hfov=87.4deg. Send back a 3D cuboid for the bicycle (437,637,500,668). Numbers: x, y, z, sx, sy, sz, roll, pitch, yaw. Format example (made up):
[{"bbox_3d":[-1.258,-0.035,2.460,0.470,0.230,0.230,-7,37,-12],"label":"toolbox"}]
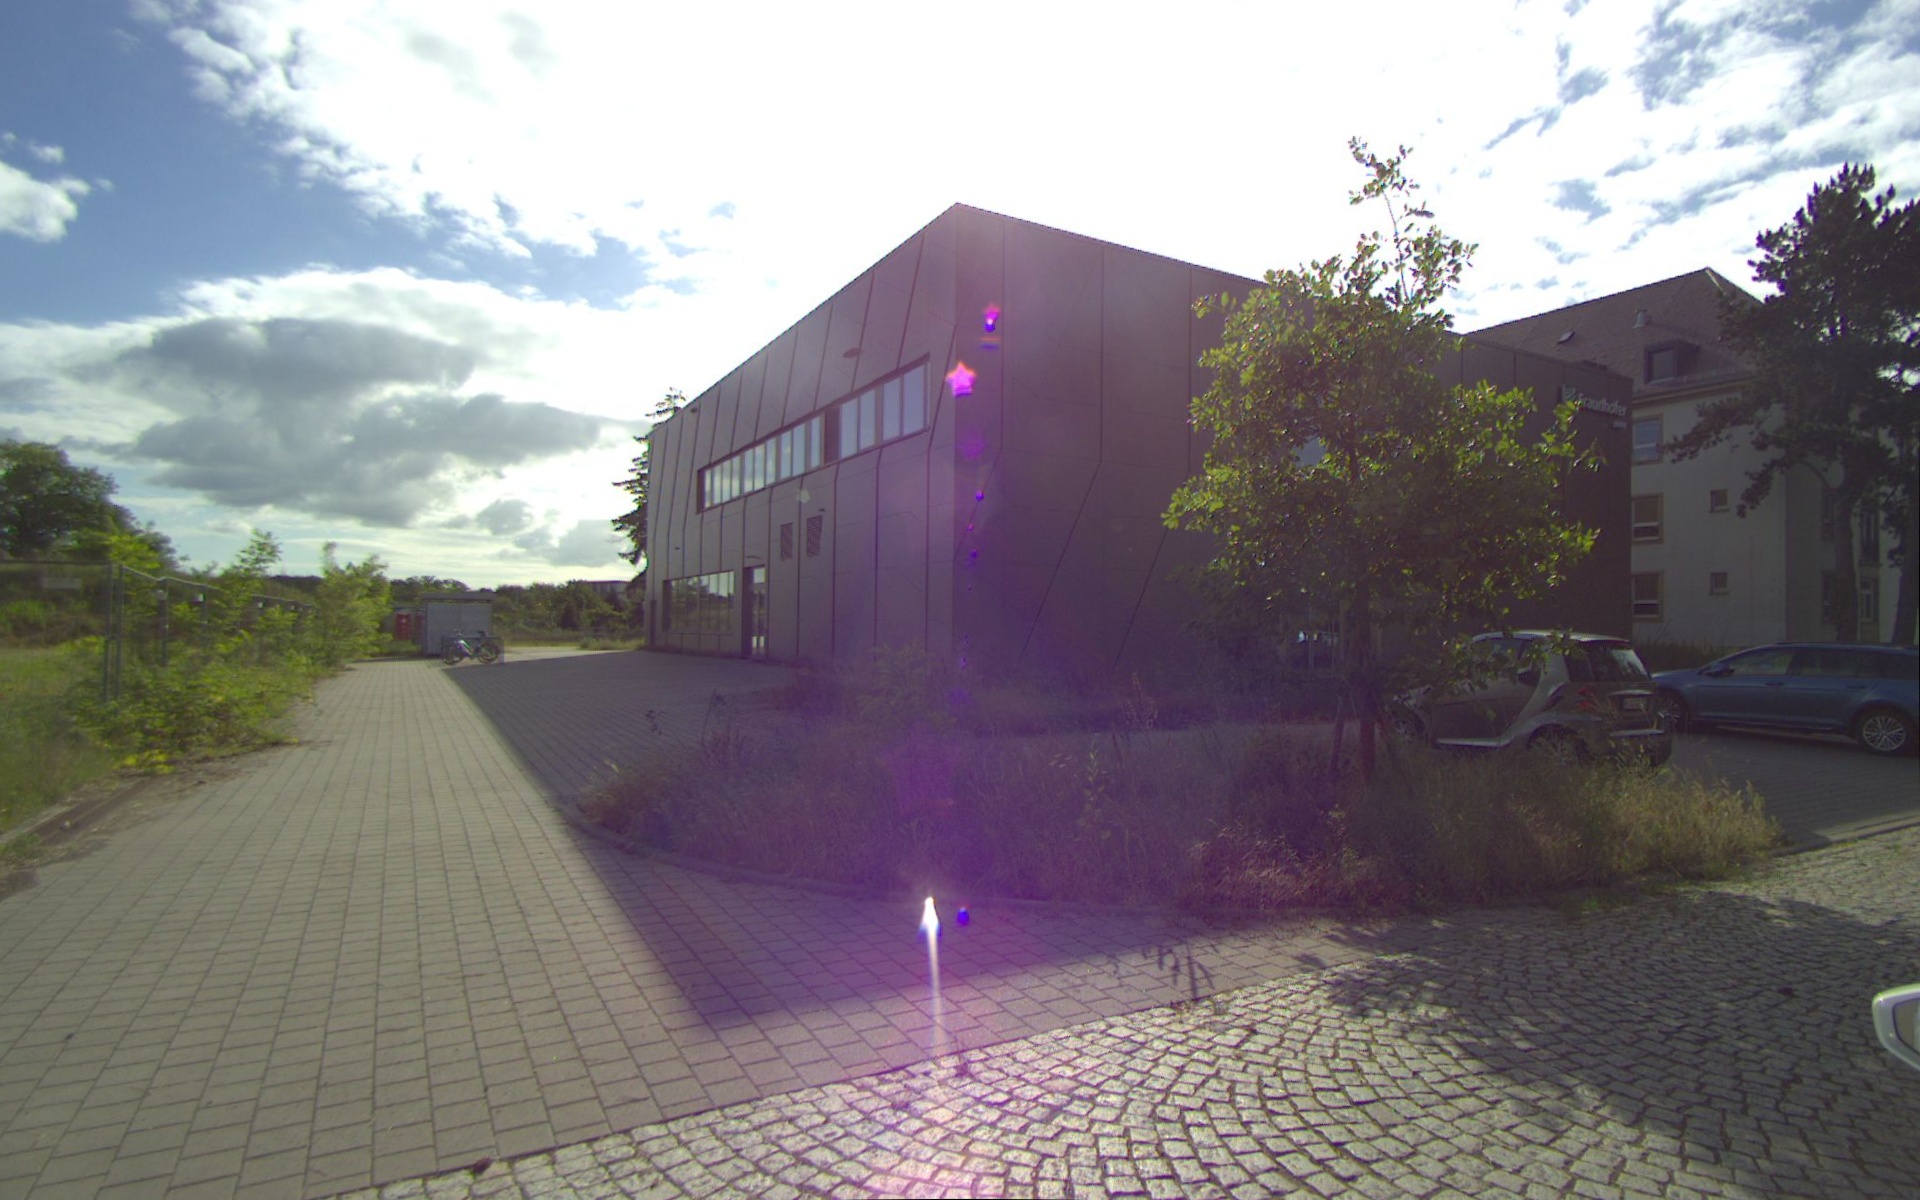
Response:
[{"bbox_3d":[-16.957,1.806,34.679,1.942,0.982,0.837,-1,-1,-27],"label":"bicycle"}]

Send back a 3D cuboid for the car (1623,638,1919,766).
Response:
[{"bbox_3d":[12.473,1.408,14.784,1.662,1.484,4.233,0,1,-32],"label":"car"}]

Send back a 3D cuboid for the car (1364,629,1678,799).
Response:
[{"bbox_3d":[6.173,1.155,11.269,1.501,1.563,2.686,2,0,-30],"label":"car"}]

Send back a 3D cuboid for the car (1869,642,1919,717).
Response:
[{"bbox_3d":[20.623,1.655,19.689,1.698,1.483,3.820,2,0,-28],"label":"car"}]

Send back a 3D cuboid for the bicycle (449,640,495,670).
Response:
[{"bbox_3d":[-15.904,1.782,32.749,1.339,0.911,0.515,-1,-1,-27],"label":"bicycle"}]
